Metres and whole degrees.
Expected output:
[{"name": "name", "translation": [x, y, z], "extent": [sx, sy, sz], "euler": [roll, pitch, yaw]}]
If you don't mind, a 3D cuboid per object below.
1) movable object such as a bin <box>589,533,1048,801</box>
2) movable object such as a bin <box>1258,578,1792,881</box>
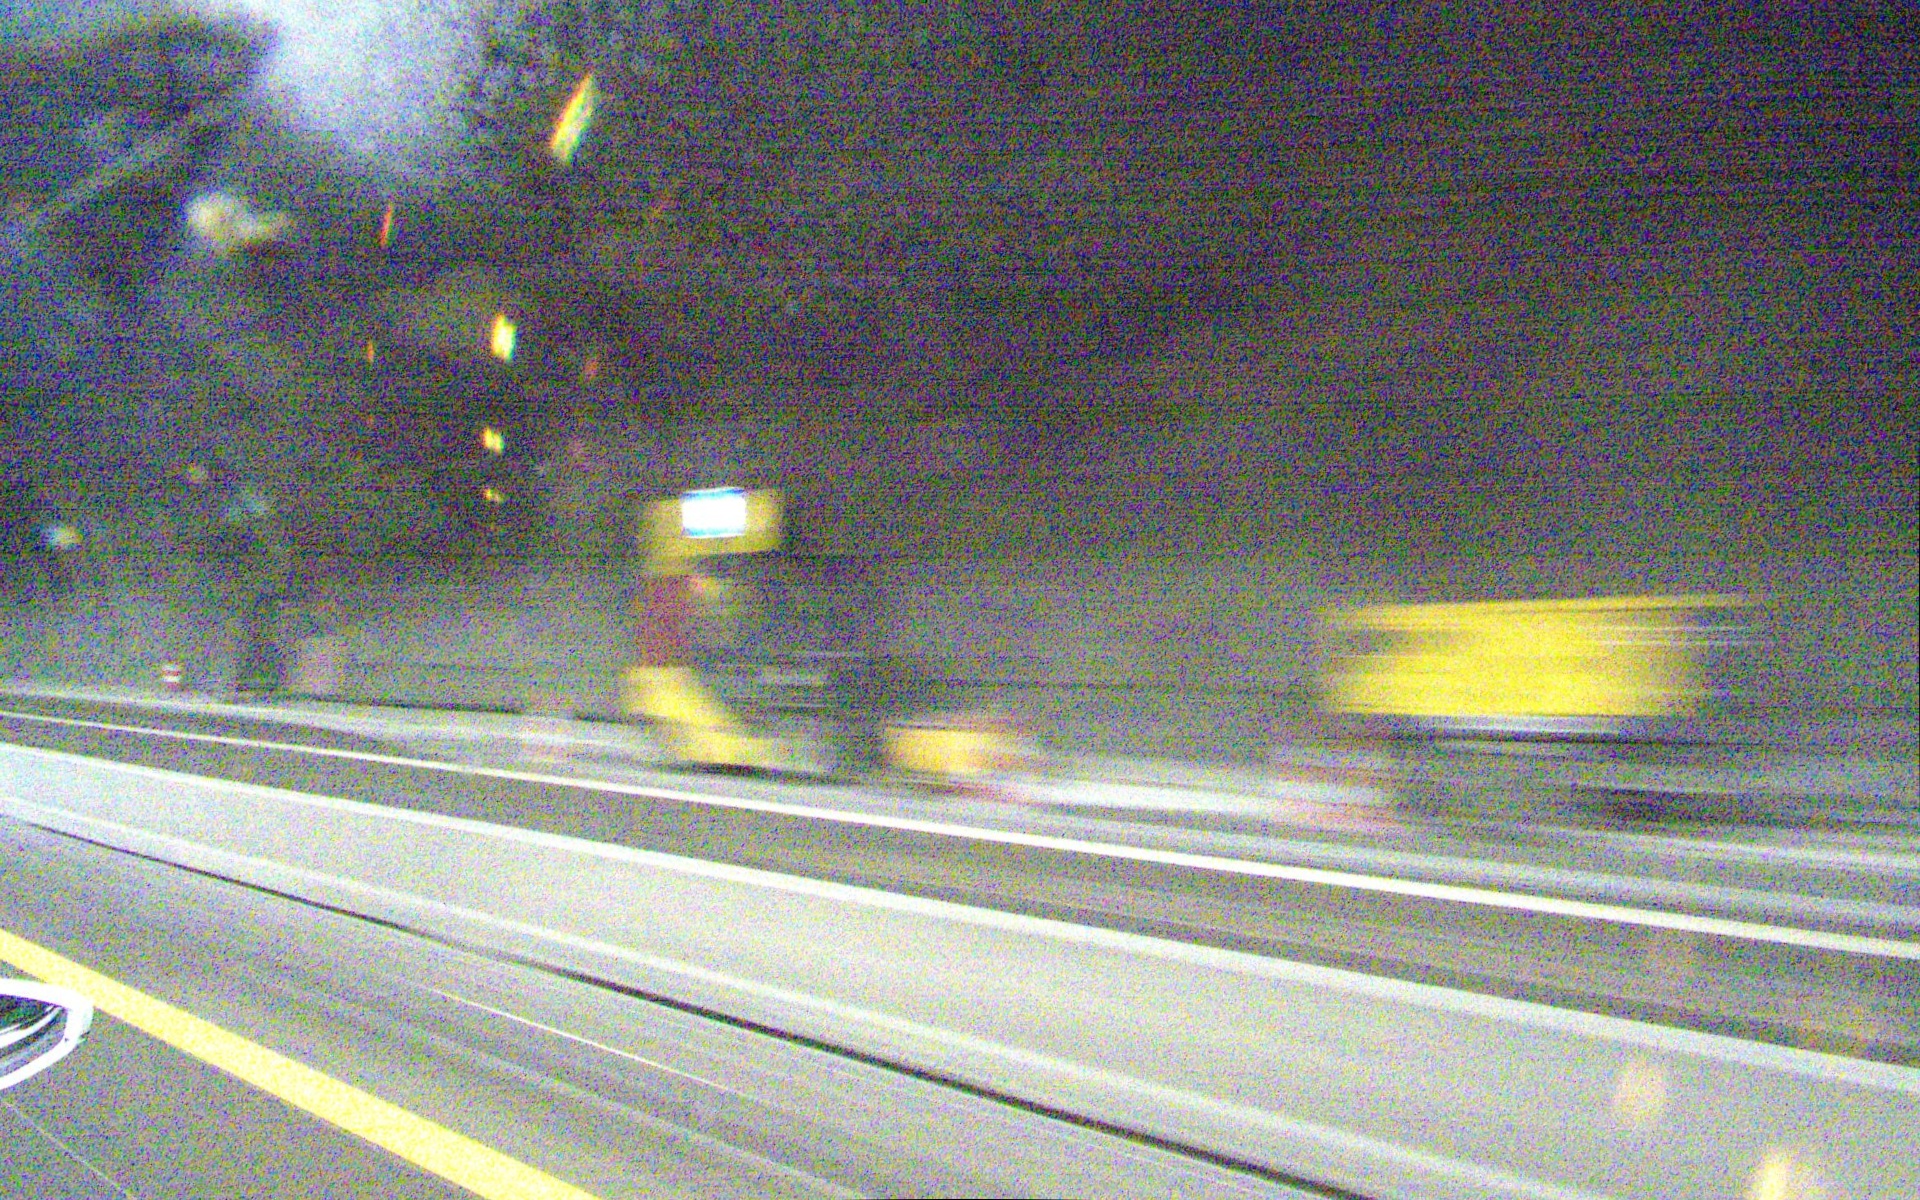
[{"name": "movable object such as a bin", "translation": [-1.530, 0.620, 10.048], "extent": [4.561, 2.173, 1.681], "euler": [-1, -2, 32]}, {"name": "movable object such as a bin", "translation": [3.865, 0.799, 7.188], "extent": [3.011, 1.730, 1.554], "euler": [-1, -2, 32]}]
